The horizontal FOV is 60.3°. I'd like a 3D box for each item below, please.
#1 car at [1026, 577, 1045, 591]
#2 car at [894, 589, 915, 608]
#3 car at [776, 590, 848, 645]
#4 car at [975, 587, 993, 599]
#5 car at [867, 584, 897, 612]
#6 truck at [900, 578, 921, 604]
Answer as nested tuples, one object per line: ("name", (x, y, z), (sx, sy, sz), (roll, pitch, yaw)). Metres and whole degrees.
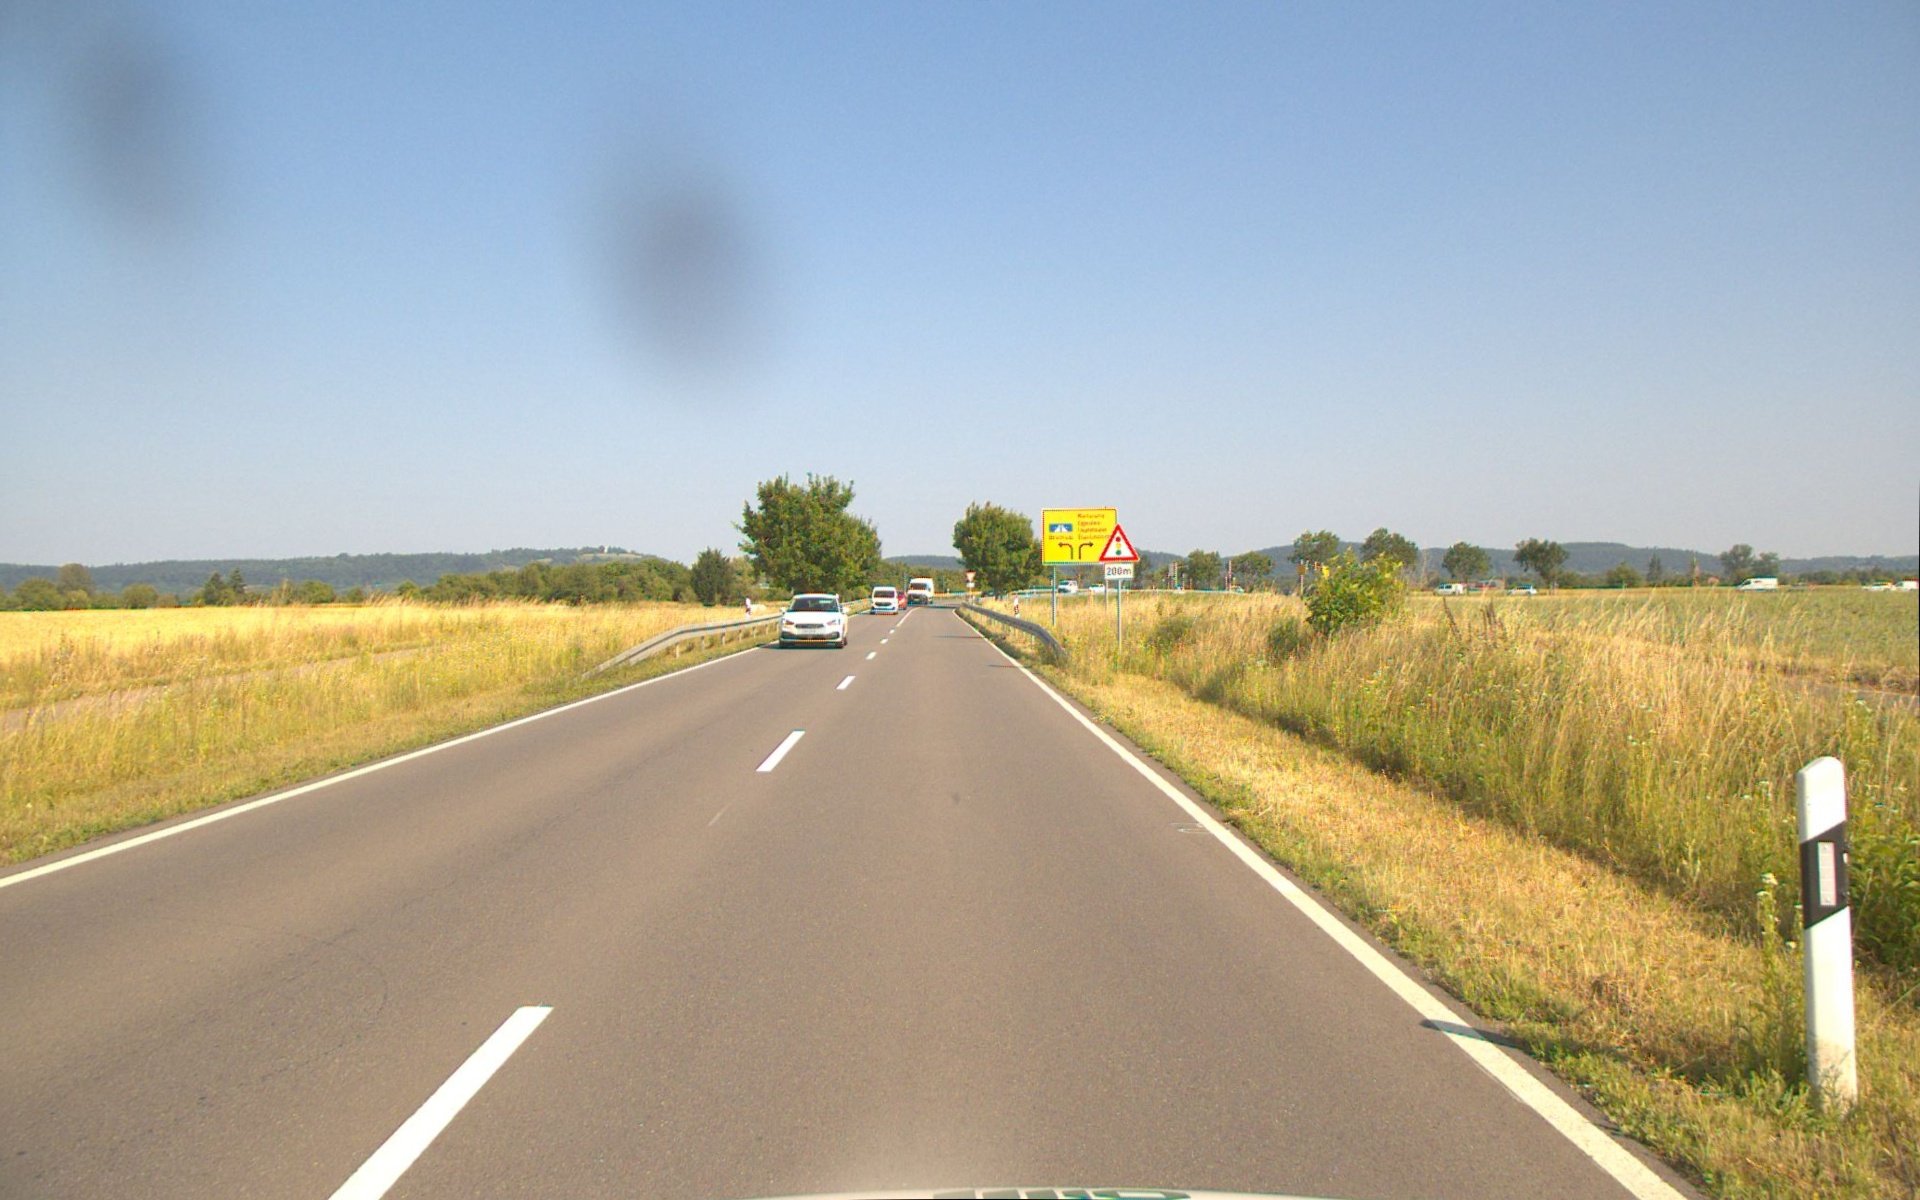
("car", (10.546, -2.238, 231.896), (1.951, 1.917, 4.595), (1, 1, 11))
("car", (-4.445, -0.121, 132.939), (1.574, 1.514, 3.779), (0, 0, -1))
("car", (-4.072, 0.469, 46.115), (1.691, 1.462, 4.515), (0, 0, -1))
("car", (2.912, -0.891, 203.219), (1.609, 1.497, 3.810), (1, 0, 10))
("car", (-5.156, -0.125, 109.869), (1.799, 1.818, 4.434), (0, 1, -1))
("truck", (-4.872, -0.879, 163.486), (1.953, 2.564, 6.242), (0, 0, -1))
